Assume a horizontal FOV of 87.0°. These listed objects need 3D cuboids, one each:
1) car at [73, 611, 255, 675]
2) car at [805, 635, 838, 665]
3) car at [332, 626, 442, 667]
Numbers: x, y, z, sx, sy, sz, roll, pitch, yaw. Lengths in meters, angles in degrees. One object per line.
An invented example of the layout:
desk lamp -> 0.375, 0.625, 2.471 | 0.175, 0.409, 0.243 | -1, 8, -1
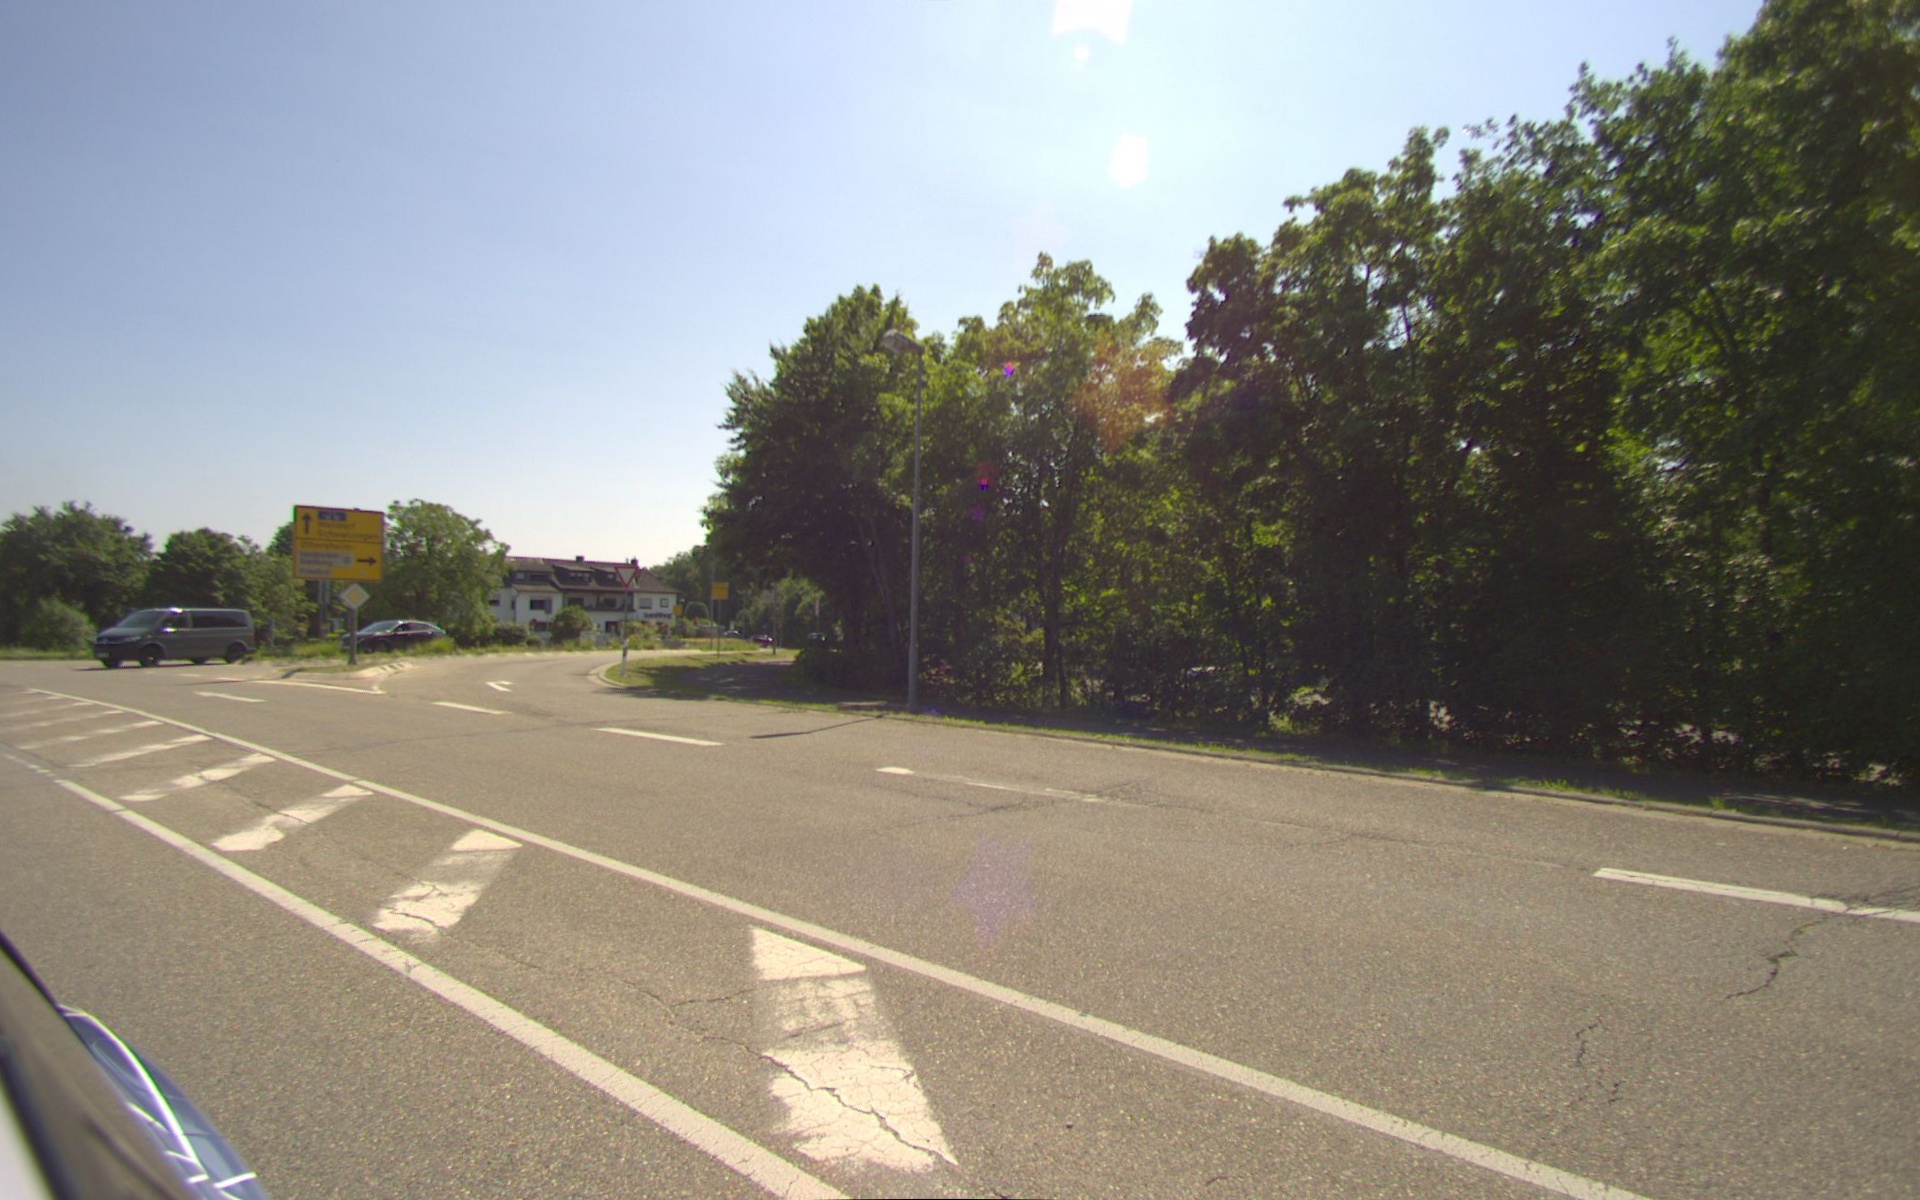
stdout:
car -> -27.313, 1.457, 34.962 | 1.981, 2.029, 4.744 | -1, -2, 14
car -> -10.442, 3.753, 76.673 | 1.972, 2.029, 4.000 | -1, 0, 0
car -> -24.373, 1.953, 43.244 | 1.730, 1.658, 4.361 | -1, -2, 11
